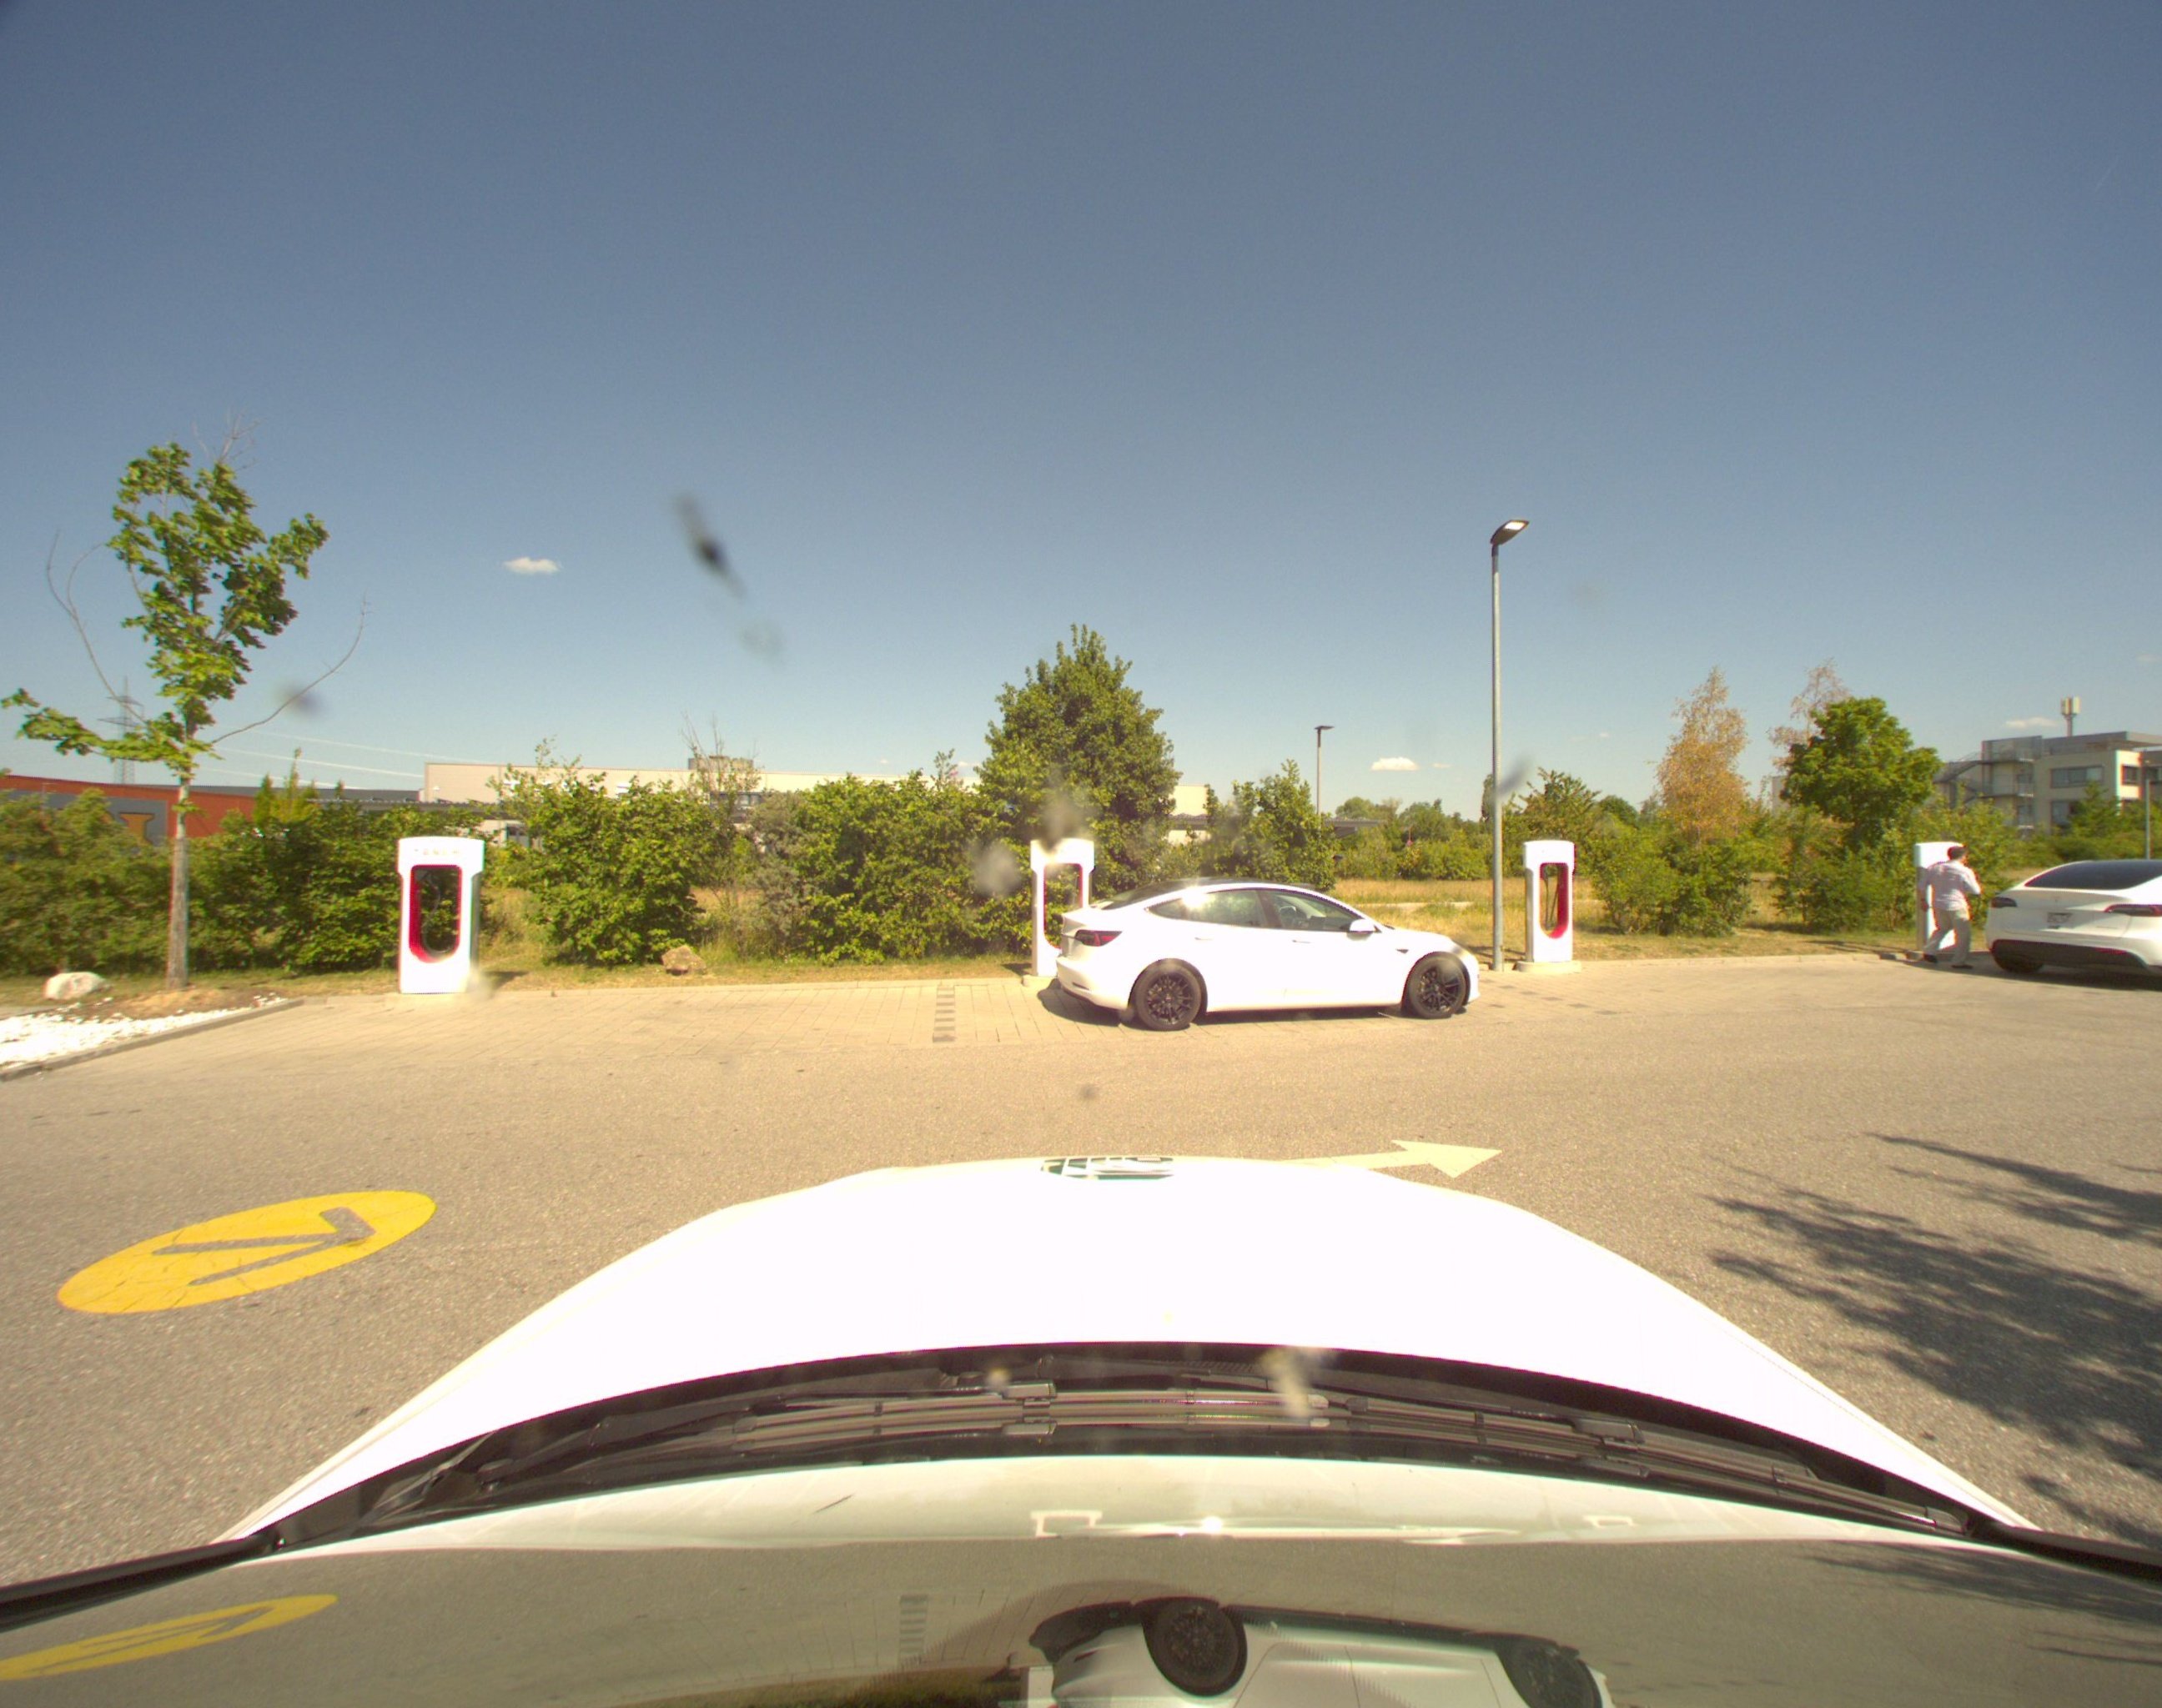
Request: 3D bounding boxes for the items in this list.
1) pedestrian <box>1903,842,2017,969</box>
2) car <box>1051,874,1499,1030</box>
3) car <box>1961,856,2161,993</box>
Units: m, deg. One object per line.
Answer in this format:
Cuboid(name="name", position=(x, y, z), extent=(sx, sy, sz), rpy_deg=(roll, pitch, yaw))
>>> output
Cuboid(name="pedestrian", position=(13.031, 0.729, 12.086), extent=(1.033, 1.800, 0.733), rpy_deg=(0, 0, -14))
Cuboid(name="car", position=(1.970, 0.952, 8.894), extent=(4.433, 1.377, 1.817), rpy_deg=(0, 0, -9))
Cuboid(name="car", position=(14.785, 0.835, 11.033), extent=(4.477, 1.600, 1.863), rpy_deg=(0, 0, -12))
